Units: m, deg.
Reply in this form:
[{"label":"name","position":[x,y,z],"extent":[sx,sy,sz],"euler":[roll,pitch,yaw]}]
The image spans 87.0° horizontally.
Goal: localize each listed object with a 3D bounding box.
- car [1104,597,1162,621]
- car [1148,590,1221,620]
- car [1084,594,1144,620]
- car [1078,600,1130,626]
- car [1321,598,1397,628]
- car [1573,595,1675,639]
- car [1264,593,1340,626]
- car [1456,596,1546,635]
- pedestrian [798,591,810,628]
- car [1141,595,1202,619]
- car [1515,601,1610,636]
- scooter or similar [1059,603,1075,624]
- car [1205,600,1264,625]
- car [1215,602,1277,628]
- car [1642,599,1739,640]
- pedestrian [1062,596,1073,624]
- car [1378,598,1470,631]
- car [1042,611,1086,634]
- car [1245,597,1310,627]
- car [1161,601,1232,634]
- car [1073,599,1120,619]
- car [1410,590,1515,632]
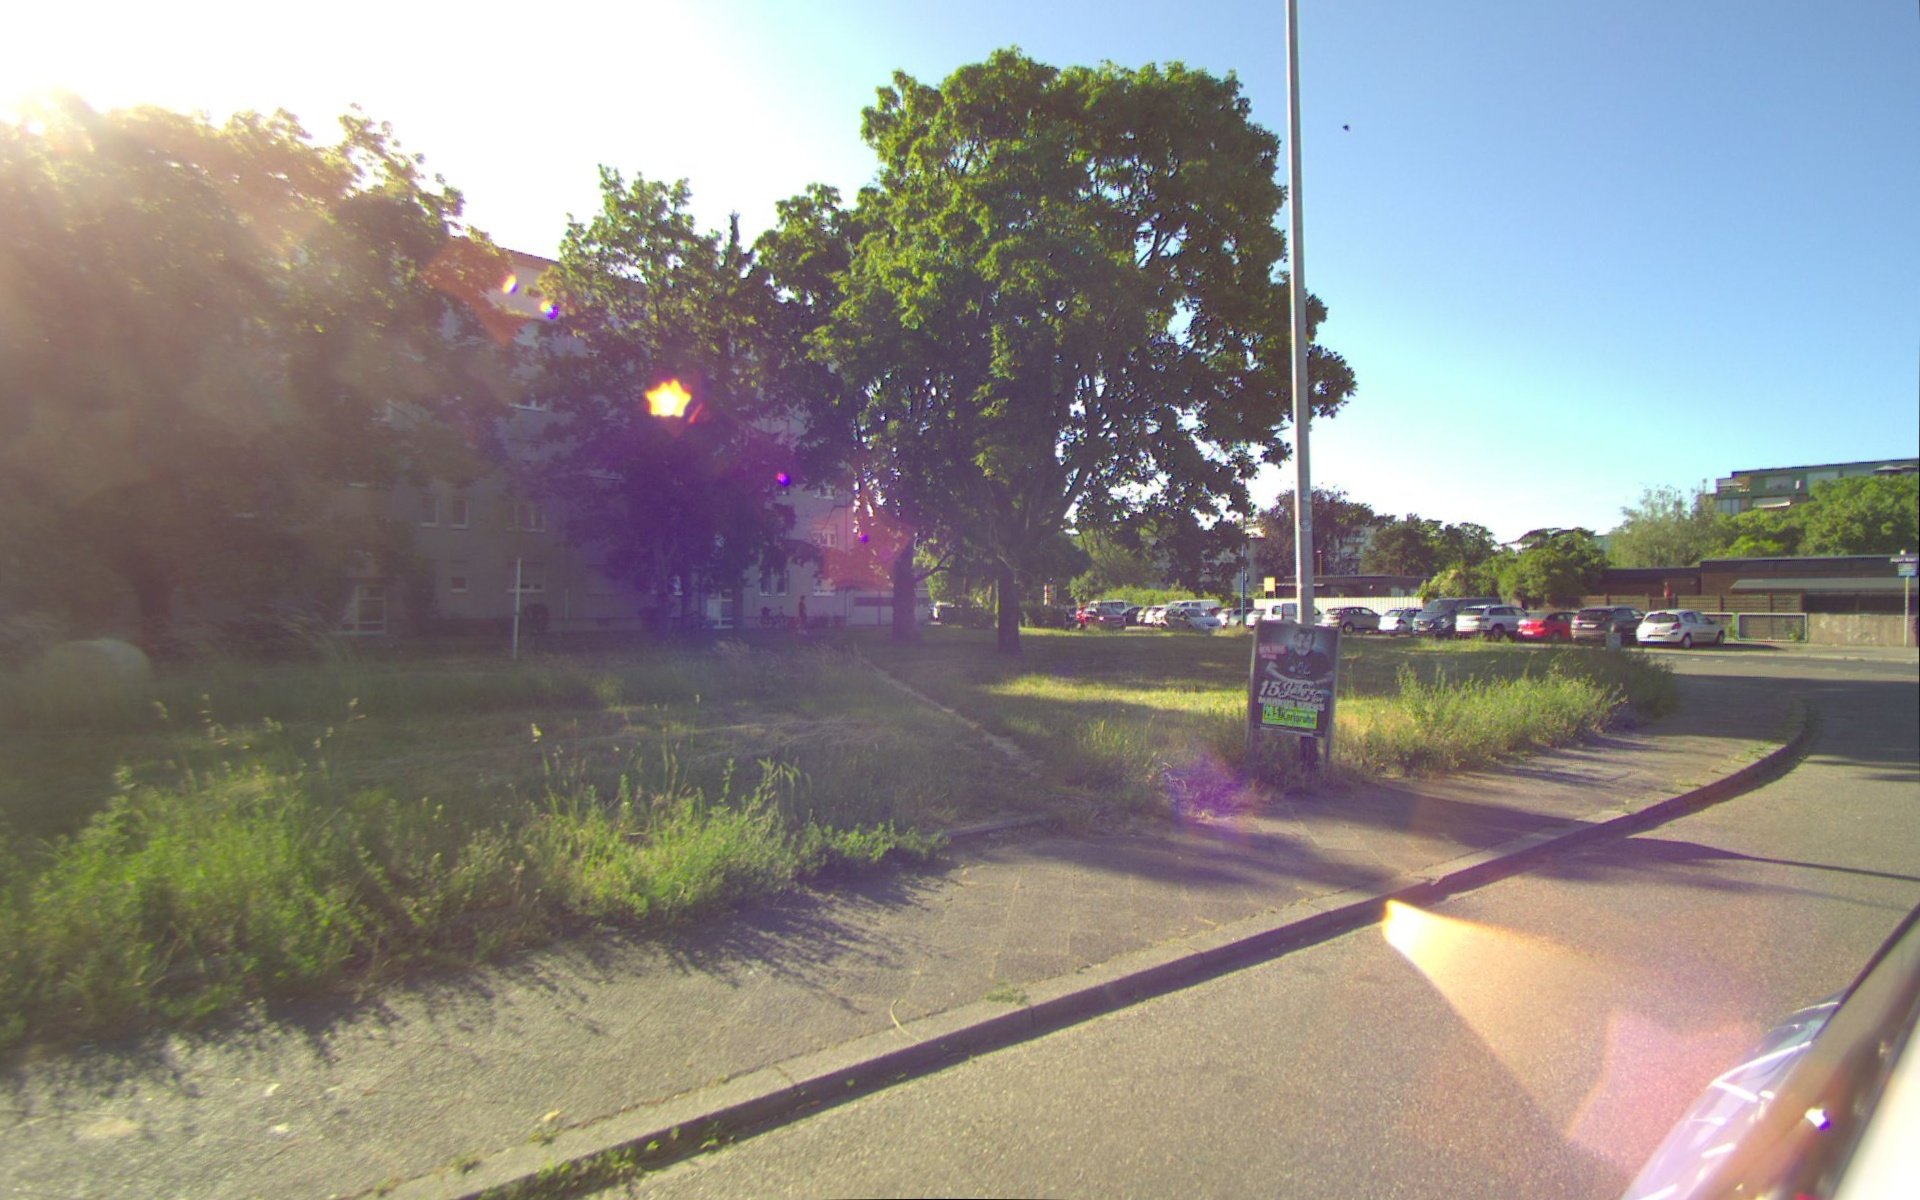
[{"label":"car","position":[13.773,0.689,80.626],"extent":[4.079,1.727,1.887],"euler":[-2,1,-11]},{"label":"car","position":[16.049,0.358,72.386],"extent":[4.704,1.945,2.086],"euler":[-2,1,-19]},{"label":"car","position":[12.700,0.552,83.354],"extent":[4.400,2.001,2.004],"euler":[-2,1,-14]},{"label":"car","position":[8.697,0.785,61.508],"extent":[1.547,1.464,3.796],"euler":[-1,1,-20]},{"label":"car","position":[22.081,0.683,56.044],"extent":[3.747,1.551,1.792],"euler":[-1,0,-23]},{"label":"car","position":[27.546,0.673,41.973],"extent":[3.919,1.632,1.821],"euler":[-2,1,-27]},{"label":"car","position":[20.415,0.560,60.466],"extent":[3.907,1.803,1.929],"euler":[-2,0,-21]},{"label":"car","position":[24.872,0.675,46.545],"extent":[3.548,1.627,1.737],"euler":[-2,1,-20]},{"label":"pedestrian","position":[-7.268,0.433,47.105],"extent":[0.481,1.683,0.537],"euler":[-2,1,-7]},{"label":"car","position":[15.722,0.485,75.319],"extent":[3.917,1.602,1.888],"euler":[-2,1,-14]},{"label":"car","position":[26.579,0.779,44.639],"extent":[3.548,1.361,1.737],"euler":[-2,1,-20]},{"label":"scooter or similar","position":[6.353,0.787,60.352],"extent":[0.611,1.243,0.907],"euler":[1,0,-18]},{"label":"car","position":[18.375,0.830,67.813],"extent":[3.451,1.508,1.639],"euler":[-2,-1,-20]},{"label":"car","position":[18.419,0.948,65.167],"extent":[3.451,1.507,1.640],"euler":[-2,1,-15]},{"label":"car","position":[28.734,0.741,39.802],"extent":[3.623,1.477,1.637],"euler":[-1,0,-28]},{"label":"pedestrian","position":[6.266,0.576,59.207],"extent":[0.473,1.584,0.598],"euler":[2,0,-7]},{"label":"car","position":[23.684,0.724,51.707],"extent":[4.064,1.511,1.929],"euler":[-2,1,-19]},{"label":"car","position":[6.987,1.501,68.326],"extent":[1.618,1.420,3.890],"euler":[1,0,-17]},{"label":"car","position":[19.679,0.740,62.667],"extent":[3.452,1.506,1.732],"euler":[-4,4,-19]},{"label":"car","position":[12.037,0.864,51.736],"extent":[1.700,1.562,3.796],"euler":[-1,1,-20]},{"label":"car","position":[12.002,0.757,89.092],"extent":[3.538,1.587,1.885],"euler":[-2,0,-13]},{"label":"car","position":[24.471,0.511,49.254],"extent":[4.786,1.939,2.004],"euler":[-1,0,-24]}]
